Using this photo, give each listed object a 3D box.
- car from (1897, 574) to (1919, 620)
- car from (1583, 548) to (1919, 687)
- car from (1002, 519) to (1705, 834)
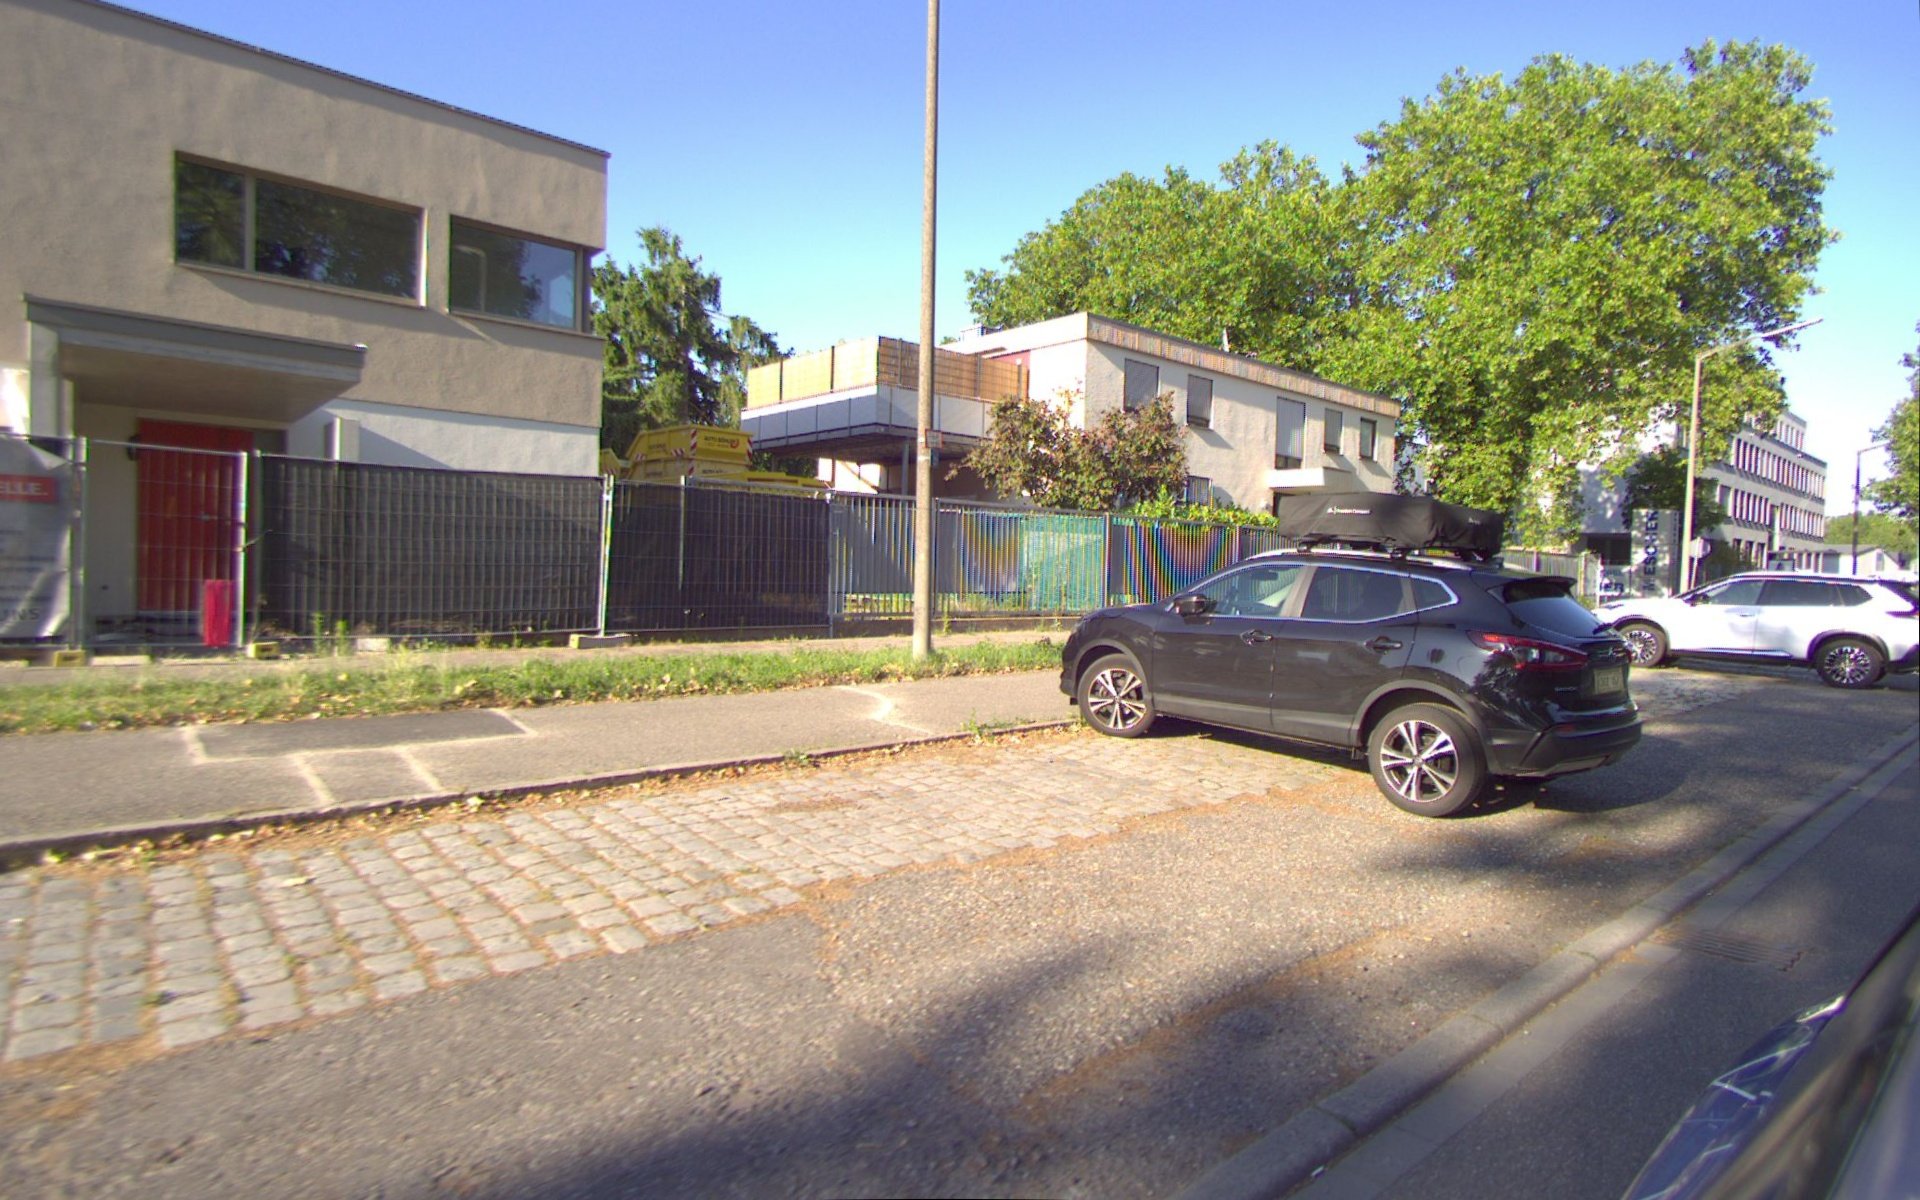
[{"bbox_3d":[38.783,0.039,38.353,1.911,1.735,4.577,-1,6,-43],"label":"car"},{"bbox_3d":[13.152,0.166,16.521,1.966,1.732,4.635,-1,6,-41],"label":"car"},{"bbox_3d":[2.666,0.267,7.855,1.966,1.544,4.635,-1,6,-41],"label":"car"}]
